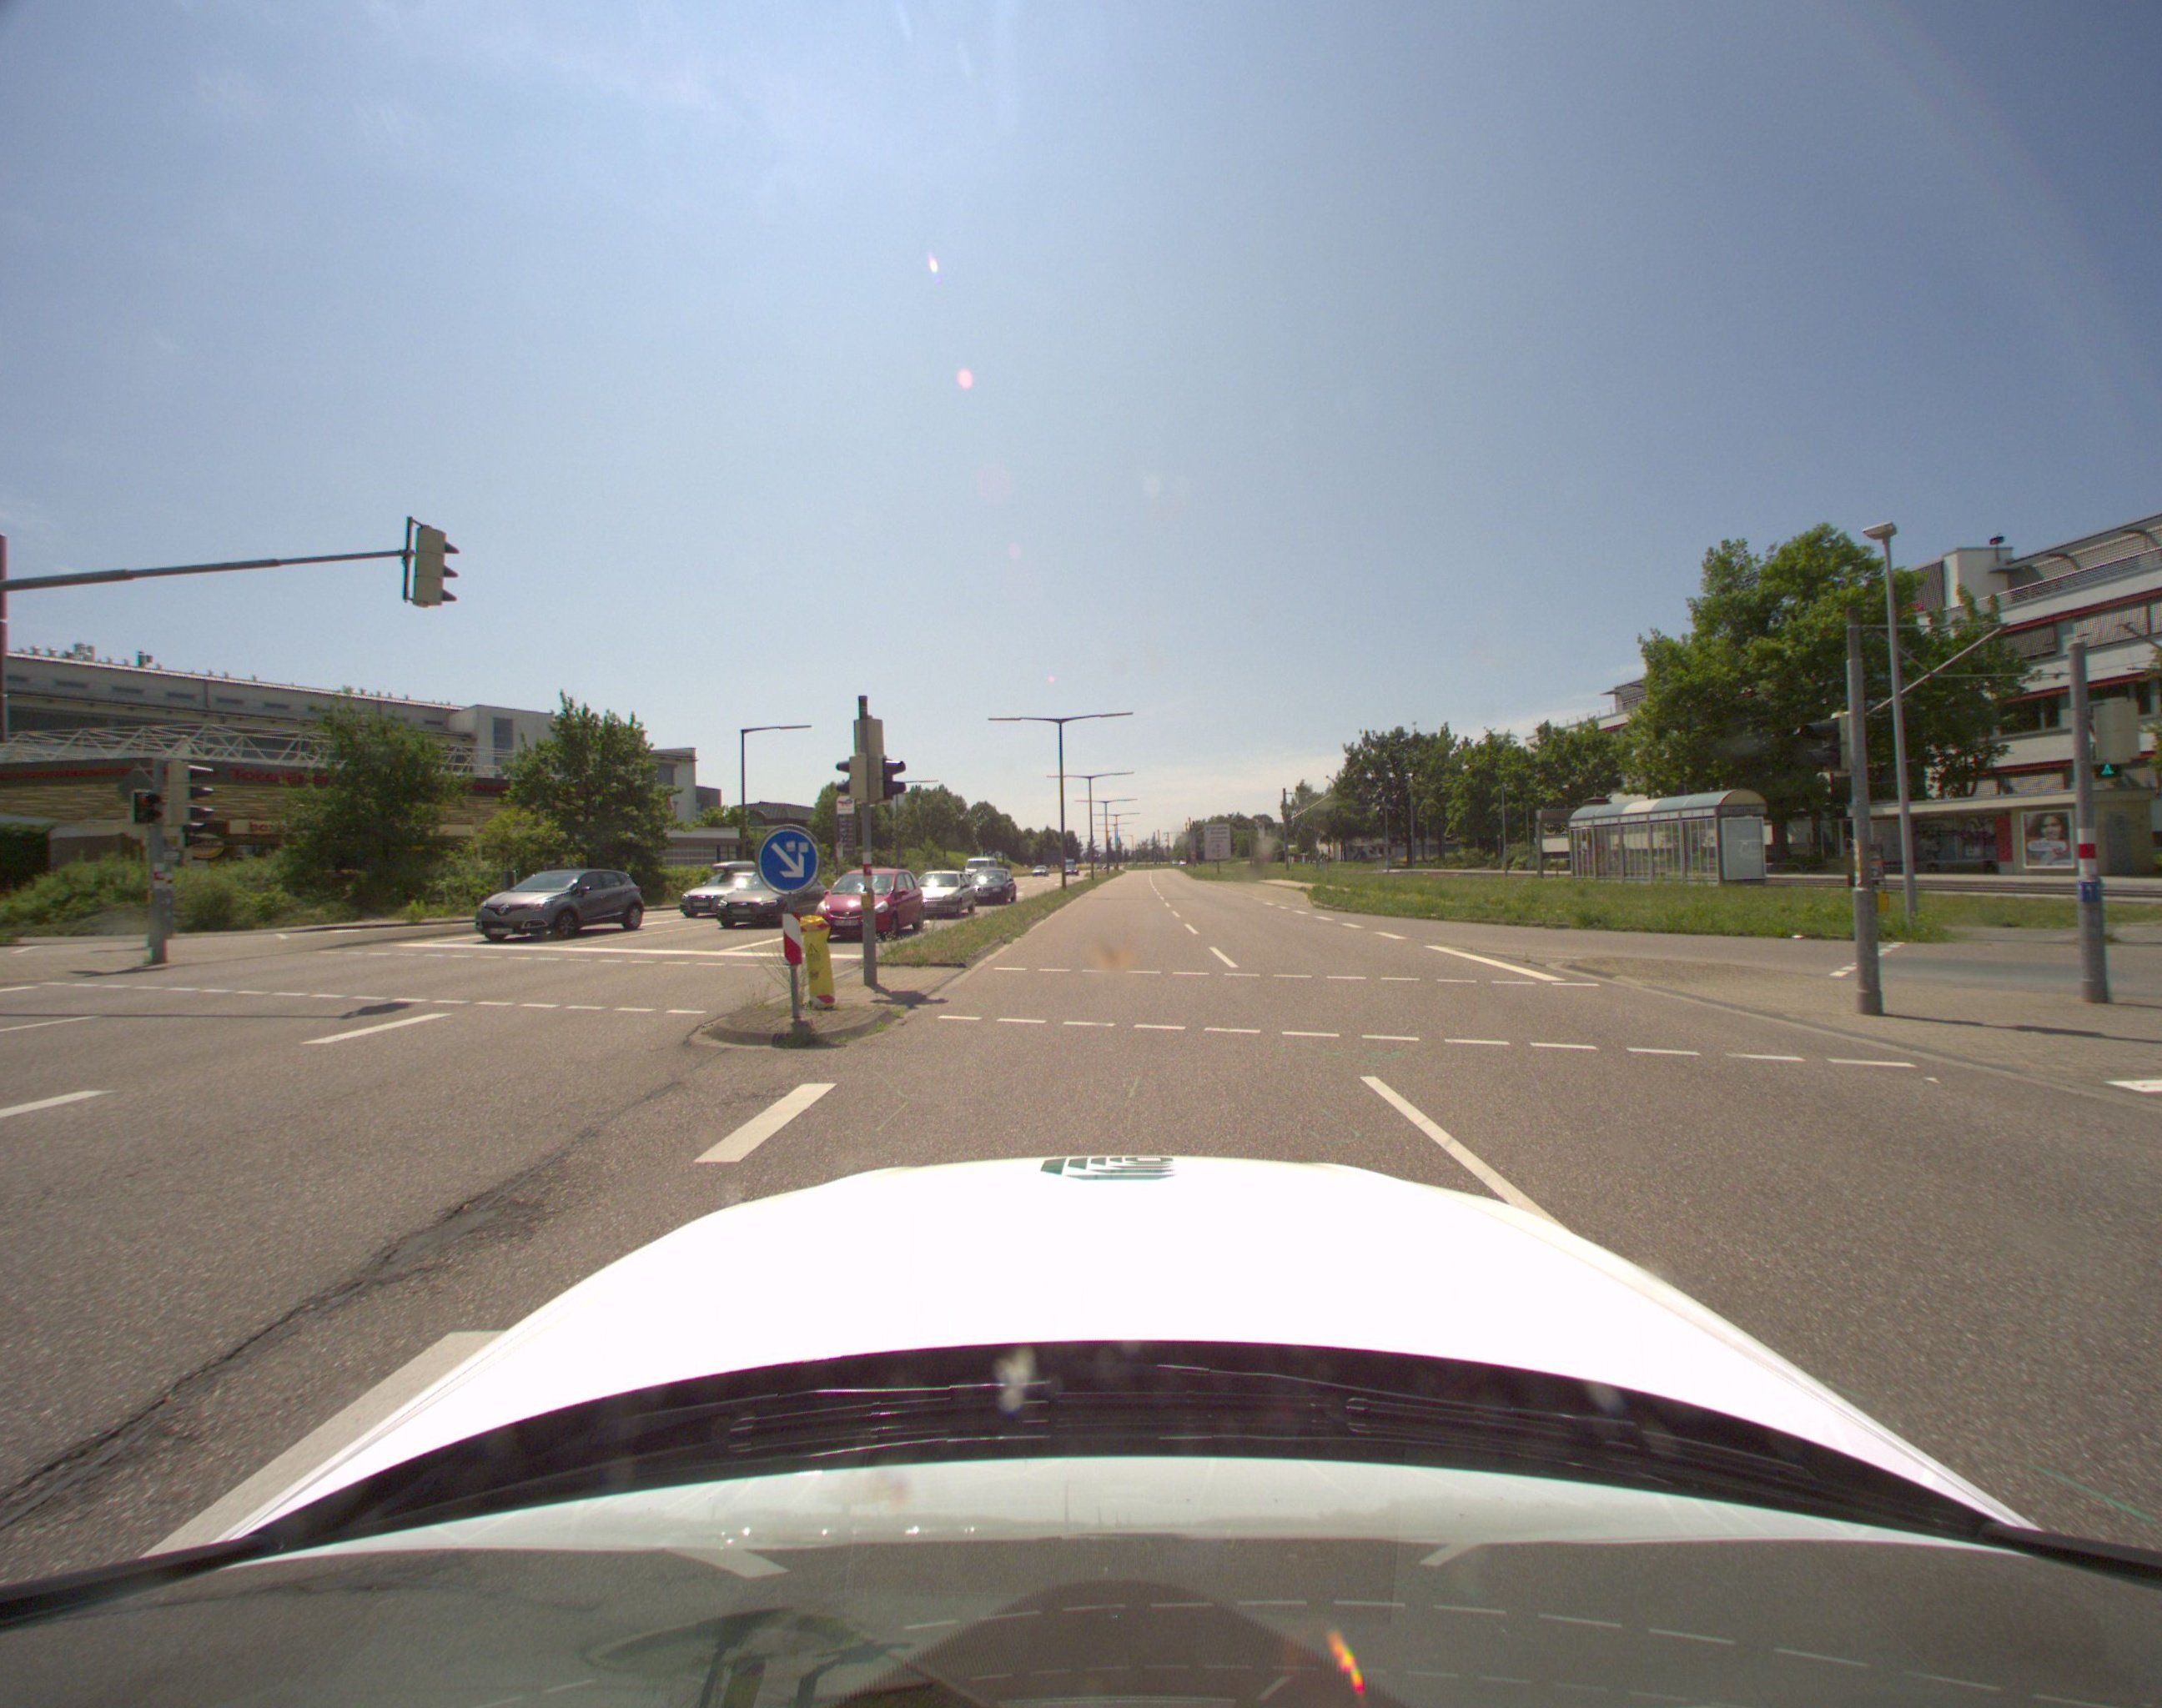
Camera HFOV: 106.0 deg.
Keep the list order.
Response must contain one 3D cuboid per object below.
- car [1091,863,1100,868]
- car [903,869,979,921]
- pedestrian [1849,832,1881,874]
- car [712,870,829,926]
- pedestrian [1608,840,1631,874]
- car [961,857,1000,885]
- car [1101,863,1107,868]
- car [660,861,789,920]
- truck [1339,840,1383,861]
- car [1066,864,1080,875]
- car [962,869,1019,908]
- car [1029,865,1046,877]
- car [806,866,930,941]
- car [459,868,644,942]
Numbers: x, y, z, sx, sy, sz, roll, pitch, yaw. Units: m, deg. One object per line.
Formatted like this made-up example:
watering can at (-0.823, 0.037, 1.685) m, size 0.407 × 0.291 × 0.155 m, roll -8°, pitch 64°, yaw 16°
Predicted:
car at (4.115, 3.225, 228.190) m, size 1.984 × 1.360 × 4.671 m, roll -3°, pitch -1°, yaw 4°
car at (-4.296, 1.218, 25.510) m, size 1.555 × 1.423 × 3.855 m, roll -1°, pitch 0°, yaw 2°
pedestrian at (30.457, -0.030, 31.635) m, size 0.549 × 1.608 × 0.691 m, roll 0°, pitch -2°, yaw 4°
car at (-8.468, 1.148, 22.555) m, size 1.590 × 1.385 × 4.005 m, roll -1°, pitch -1°, yaw 2°
pedestrian at (29.182, 0.186, 44.126) m, size 0.694 × 1.842 × 0.709 m, roll 0°, pitch -2°, yaw -12°
car at (-8.411, 1.430, 68.904) m, size 2.239 × 2.273 × 5.454 m, roll 0°, pitch -1°, yaw 4°
car at (6.893, 3.294, 239.991) m, size 1.685 × 1.492 × 4.003 m, roll -2°, pitch -1°, yaw 3°
car at (-11.752, 1.131, 27.285) m, size 1.957 × 1.750 × 5.024 m, roll -1°, pitch -1°, yaw 2°
truck at (42.514, -0.518, 123.794) m, size 5.830 × 2.843 × 2.316 m, roll -3°, pitch -2°, yaw -5°
car at (-1.054, 2.128, 113.184) m, size 1.724 × 1.458 × 4.565 m, roll -2°, pitch -1°, yaw 1°
car at (-3.621, 1.344, 33.186) m, size 1.669 × 1.434 × 4.193 m, roll -1°, pitch -1°, yaw 2°
car at (-5.869, 2.265, 109.885) m, size 1.823 × 1.449 × 4.854 m, roll -2°, pitch -1°, yaw 3°
car at (-4.720, 1.045, 18.636) m, size 1.652 × 1.490 × 4.001 m, roll -1°, pitch -1°, yaw 2°
car at (-12.256, 1.107, 19.202) m, size 1.652 × 1.539 × 4.001 m, roll -1°, pitch -1°, yaw 2°
